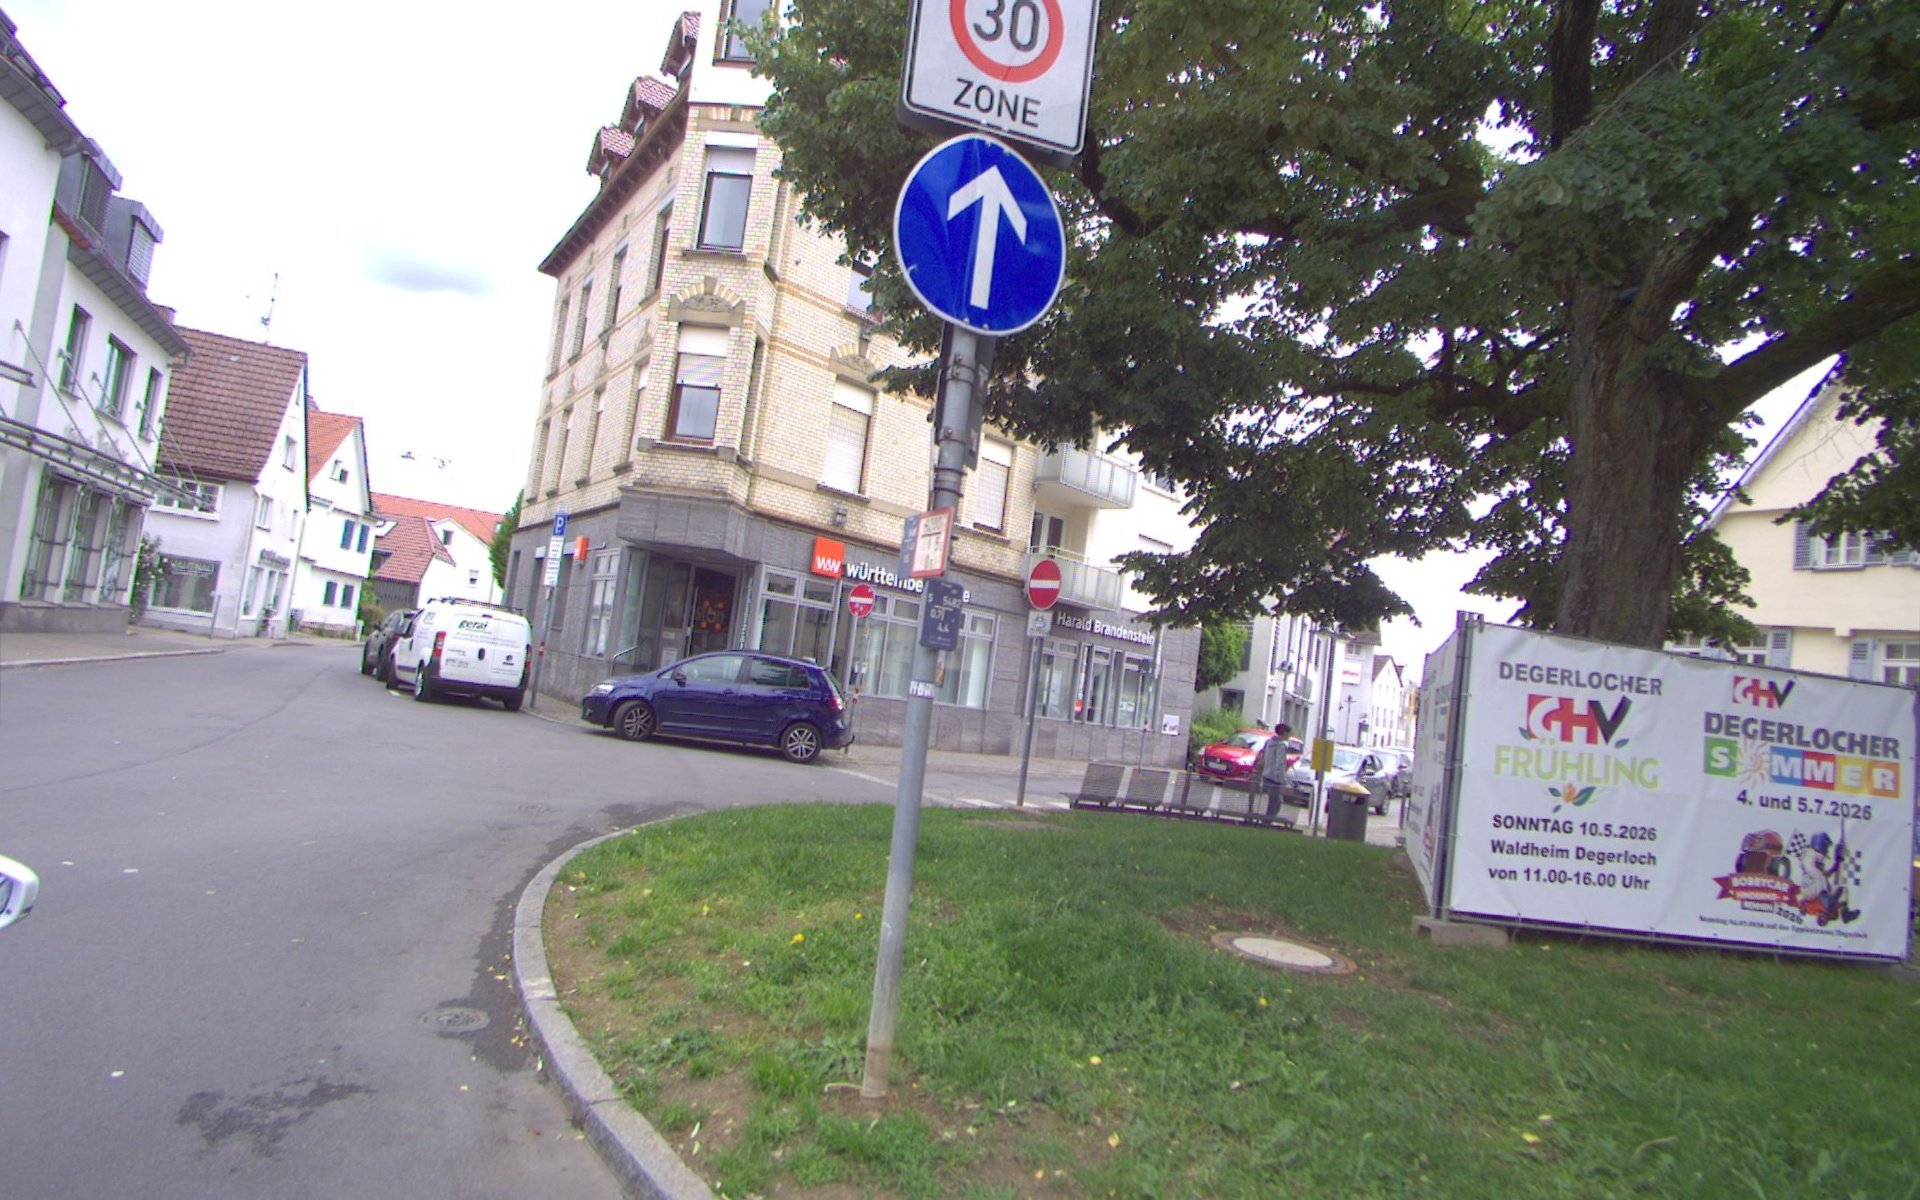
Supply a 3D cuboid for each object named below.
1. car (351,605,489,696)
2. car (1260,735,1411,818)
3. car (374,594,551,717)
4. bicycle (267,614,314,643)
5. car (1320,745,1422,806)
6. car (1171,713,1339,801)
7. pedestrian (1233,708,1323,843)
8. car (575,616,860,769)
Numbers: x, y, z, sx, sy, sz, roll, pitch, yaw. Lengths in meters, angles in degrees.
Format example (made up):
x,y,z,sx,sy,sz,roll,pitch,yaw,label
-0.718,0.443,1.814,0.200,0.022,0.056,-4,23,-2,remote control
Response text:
x,y,z,sx,sy,sz,roll,pitch,yaw,label
-12.162,1.065,22.516,1.782,1.615,4.500,12,-8,-37,car
8.914,4.189,23.731,1.761,1.531,3.991,5,-6,45,car
-9.275,0.953,18.585,1.820,1.809,4.176,12,-7,-38,car
-28.484,1.220,42.837,0.436,1.048,2.096,12,-6,-2,bicycle
13.737,5.820,33.483,2.221,1.526,4.521,6,-5,33,car
7.697,4.089,26.041,4.364,1.561,2.100,15,-7,-42,car
4.558,2.511,14.416,0.708,1.761,0.786,12,-6,-43,pedestrian
-3.731,1.496,15.987,3.957,1.719,1.864,9,-6,-10,car
